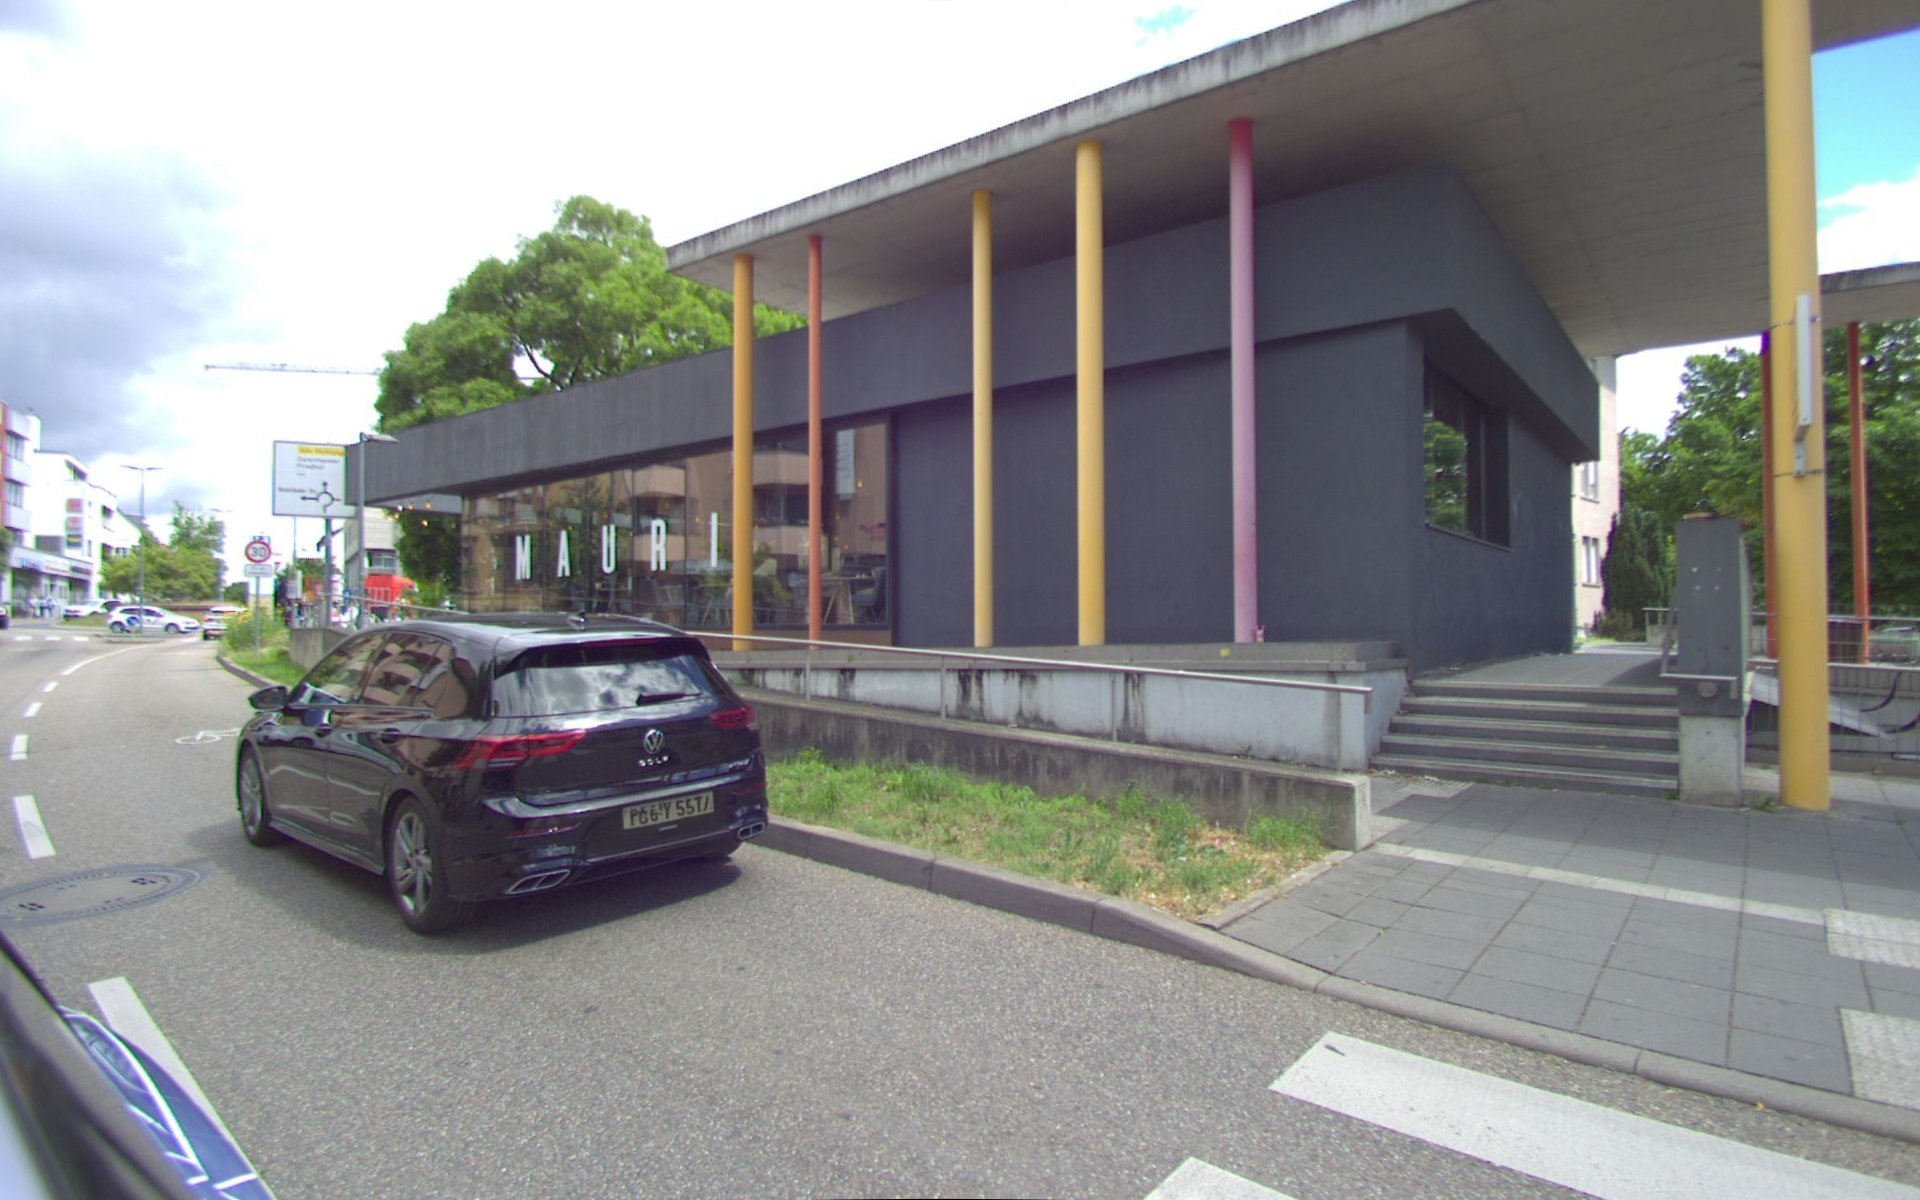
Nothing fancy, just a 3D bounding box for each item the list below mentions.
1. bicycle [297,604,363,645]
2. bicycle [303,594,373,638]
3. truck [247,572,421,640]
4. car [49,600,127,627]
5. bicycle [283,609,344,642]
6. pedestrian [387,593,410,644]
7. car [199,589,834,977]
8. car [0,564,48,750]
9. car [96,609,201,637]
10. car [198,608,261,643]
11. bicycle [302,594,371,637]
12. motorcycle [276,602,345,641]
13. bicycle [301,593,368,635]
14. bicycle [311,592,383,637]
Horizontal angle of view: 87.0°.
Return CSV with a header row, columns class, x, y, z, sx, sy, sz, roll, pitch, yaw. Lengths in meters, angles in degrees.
class,x,y,z,sx,sy,sz,roll,pitch,yaw
bicycle,-17.960,0.714,28.849,1.526,1.136,0.534,2,-2,-39
bicycle,-16.559,0.433,26.955,1.526,1.136,0.534,2,-2,-39
truck,-38.931,0.300,63.651,2.654,3.871,10.809,0,1,11
car,-57.764,0.848,67.131,1.818,1.675,4.001,0,1,-1
bicycle,-21.888,0.857,34.289,1.666,1.090,0.516,2,-4,-43
pedestrian,-18.441,0.601,33.231,0.651,1.641,0.802,0,-2,-31
car,-2.820,0.725,5.918,4.232,1.475,1.754,-1,-1,41
car,-12.981,0.674,10.194,5.304,2.029,2.005,-1,0,-13
car,-43.316,1.215,54.121,3.985,1.409,1.822,0,1,-16
car,-35.988,1.244,49.985,1.797,1.597,4.179,3,-2,-26
bicycle,-16.995,0.432,27.606,1.526,1.136,0.534,2,-2,-39
motorcycle,-25.359,0.853,39.520,2.161,1.460,0.649,2,-1,-40
bicycle,-17.467,0.402,28.264,1.526,1.136,0.534,2,-2,-39
bicycle,-15.765,0.386,26.047,1.526,1.136,0.534,2,-2,-39
